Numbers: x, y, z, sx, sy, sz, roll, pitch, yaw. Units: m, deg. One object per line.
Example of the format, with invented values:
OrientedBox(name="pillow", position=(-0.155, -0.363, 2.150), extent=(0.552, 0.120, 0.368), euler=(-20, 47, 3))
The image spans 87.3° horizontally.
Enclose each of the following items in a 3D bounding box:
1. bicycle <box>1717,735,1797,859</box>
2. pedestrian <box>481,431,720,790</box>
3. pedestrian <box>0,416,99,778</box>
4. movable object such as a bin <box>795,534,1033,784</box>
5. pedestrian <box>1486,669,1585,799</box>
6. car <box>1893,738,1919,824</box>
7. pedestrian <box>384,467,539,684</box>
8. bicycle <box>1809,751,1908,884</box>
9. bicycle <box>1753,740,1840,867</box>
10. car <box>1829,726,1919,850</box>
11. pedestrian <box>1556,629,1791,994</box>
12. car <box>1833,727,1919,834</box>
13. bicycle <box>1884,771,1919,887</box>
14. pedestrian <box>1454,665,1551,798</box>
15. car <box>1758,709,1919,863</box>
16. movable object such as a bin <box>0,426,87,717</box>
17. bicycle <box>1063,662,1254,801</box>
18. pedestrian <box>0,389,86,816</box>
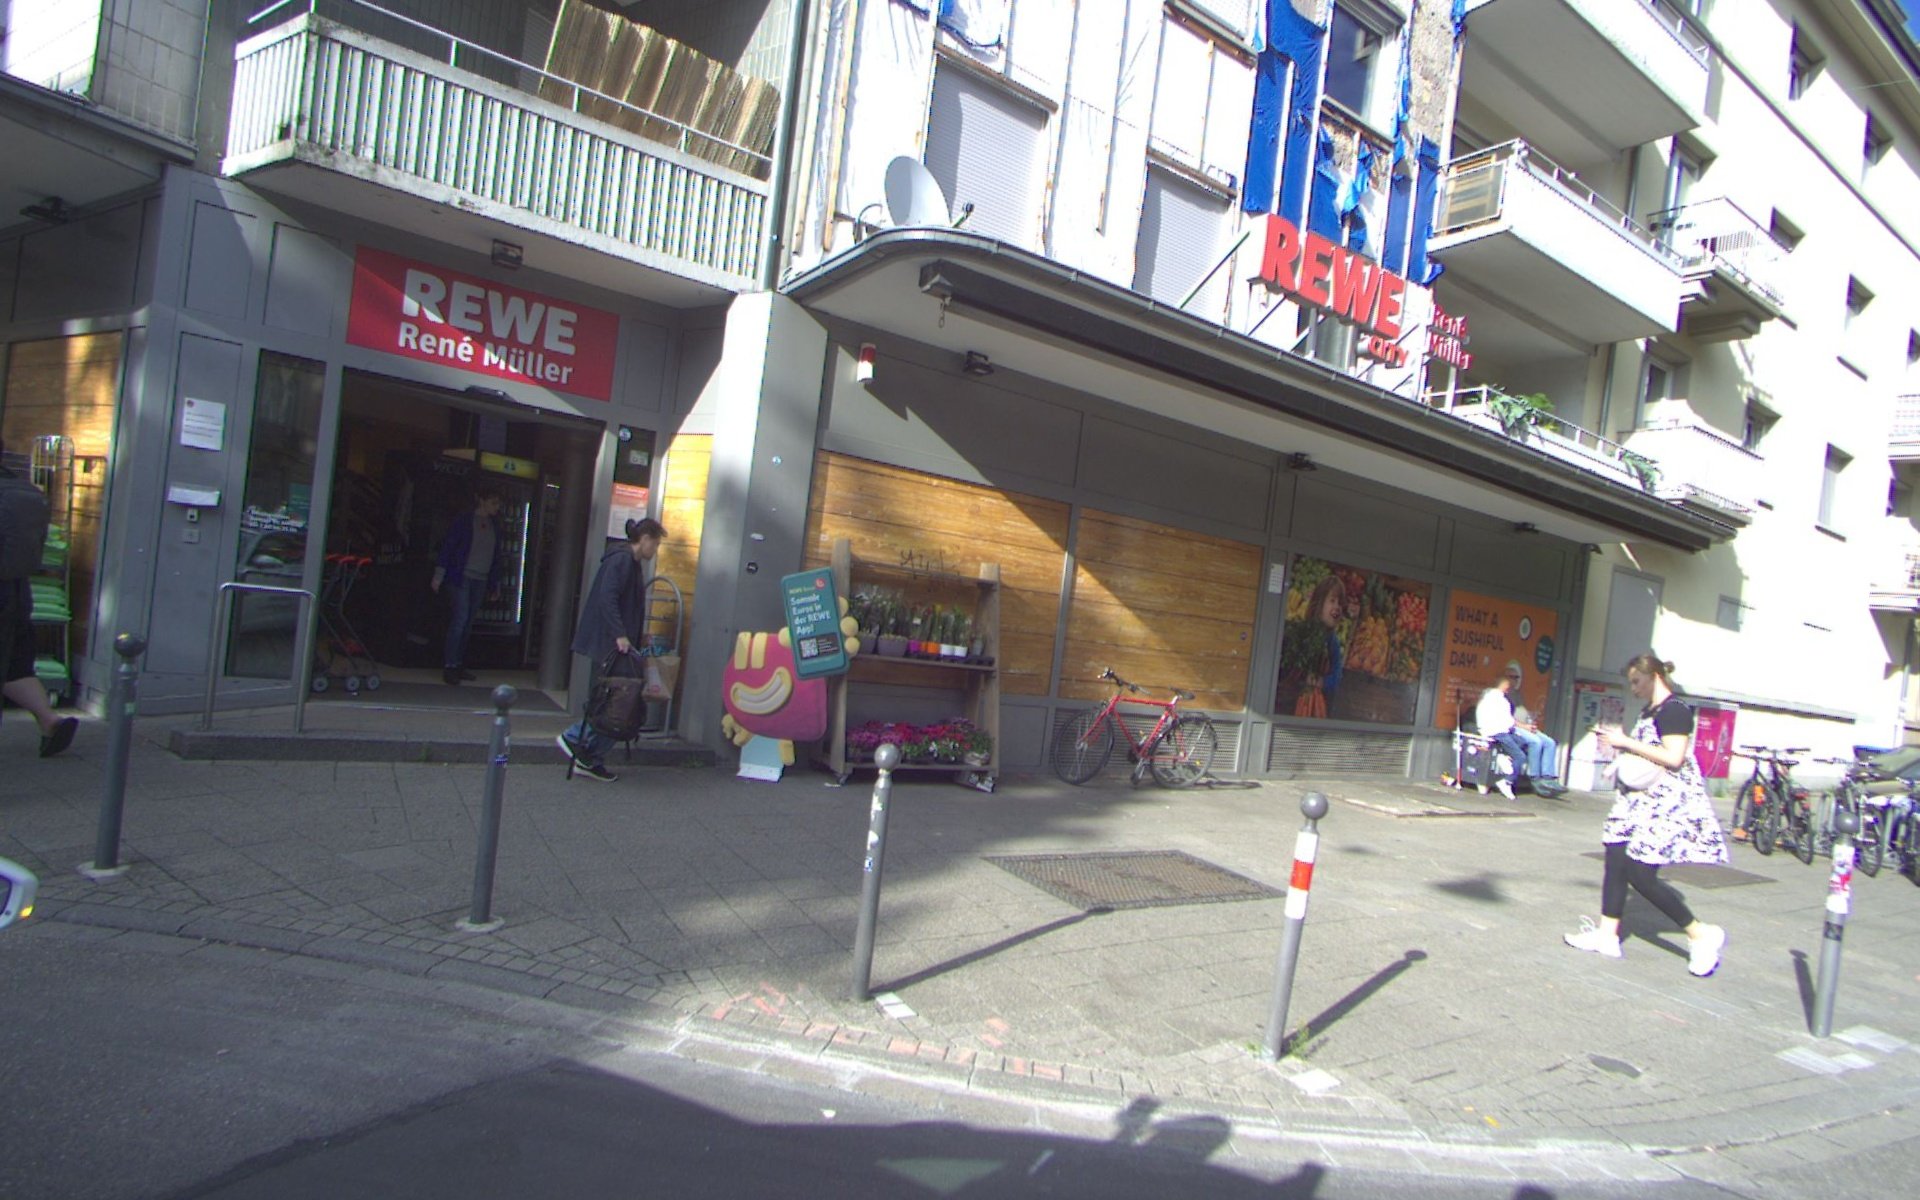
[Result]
OrientedBox(name="bicycle", position=(8.732, 2.118, 11.063), extent=(0.414, 1.100, 1.693), euler=(8, 2, 34))
OrientedBox(name="pedestrian", position=(-2.267, 0.063, 6.469), extent=(1.015, 2.040, 0.863), euler=(7, 2, 0))
OrientedBox(name="pedestrian", position=(-5.152, -0.059, 5.025), extent=(1.030, 1.770, 0.851), euler=(7, 3, 22))
OrientedBox(name="movable object such as a bin", position=(-0.347, 0.488, 7.941), extent=(1.535, 1.777, 0.684), euler=(7, 3, -35))
OrientedBox(name="pedestrian", position=(7.372, 1.707, 12.902), extent=(0.662, 1.524, 0.746), euler=(6, 1, -36))
OrientedBox(name="car", position=(18.954, 3.498, 16.763), extent=(4.551, 1.451, 1.748), euler=(8, 0, 30))
OrientedBox(name="pedestrian", position=(-4.418, -0.215, 8.917), extent=(0.917, 1.775, 0.762), euler=(8, 1, 39))
OrientedBox(name="bicycle", position=(9.364, 2.222, 10.533), extent=(0.414, 1.100, 1.693), euler=(8, 2, 34))
OrientedBox(name="bicycle", position=(8.970, 2.146, 10.837), extent=(0.414, 1.100, 1.693), euler=(8, 2, 34))
OrientedBox(name="car", position=(14.664, 2.826, 13.061), extent=(4.581, 1.472, 1.956), euler=(8, 0, 23))
OrientedBox(name="pedestrian", position=(3.909, 1.105, 5.591), extent=(0.828, 1.775, 0.612), euler=(8, 1, 32))
OrientedBox(name="car", position=(16.460, 3.088, 15.133), extent=(4.545, 1.451, 1.750), euler=(8, 0, 23))
OrientedBox(name="bicycle", position=(9.778, 2.316, 10.244), extent=(0.408, 1.031, 1.494), euler=(9, 1, 44))
OrientedBox(name="pedestrian", position=(6.733, 1.624, 12.486), extent=(0.747, 1.524, 0.661), euler=(6, 1, -38))
OrientedBox(name="car", position=(12.170, 2.430, 11.925), extent=(3.935, 1.474, 1.805), euler=(9, 2, 34))
OrientedBox(name="movable object such as a bin", position=(-6.863, -0.284, 6.740), extent=(2.383, 1.766, 0.780), euler=(7, 1, 33))
OrientedBox(name="bicycle", position=(1.792, 1.191, 9.071), extent=(1.515, 1.046, 0.579), euler=(7, 2, -23))
OrientedBox(name="pedestrian", position=(-4.343, -0.013, 4.428), extent=(0.650, 1.822, 0.650), euler=(3, 5, -44))
